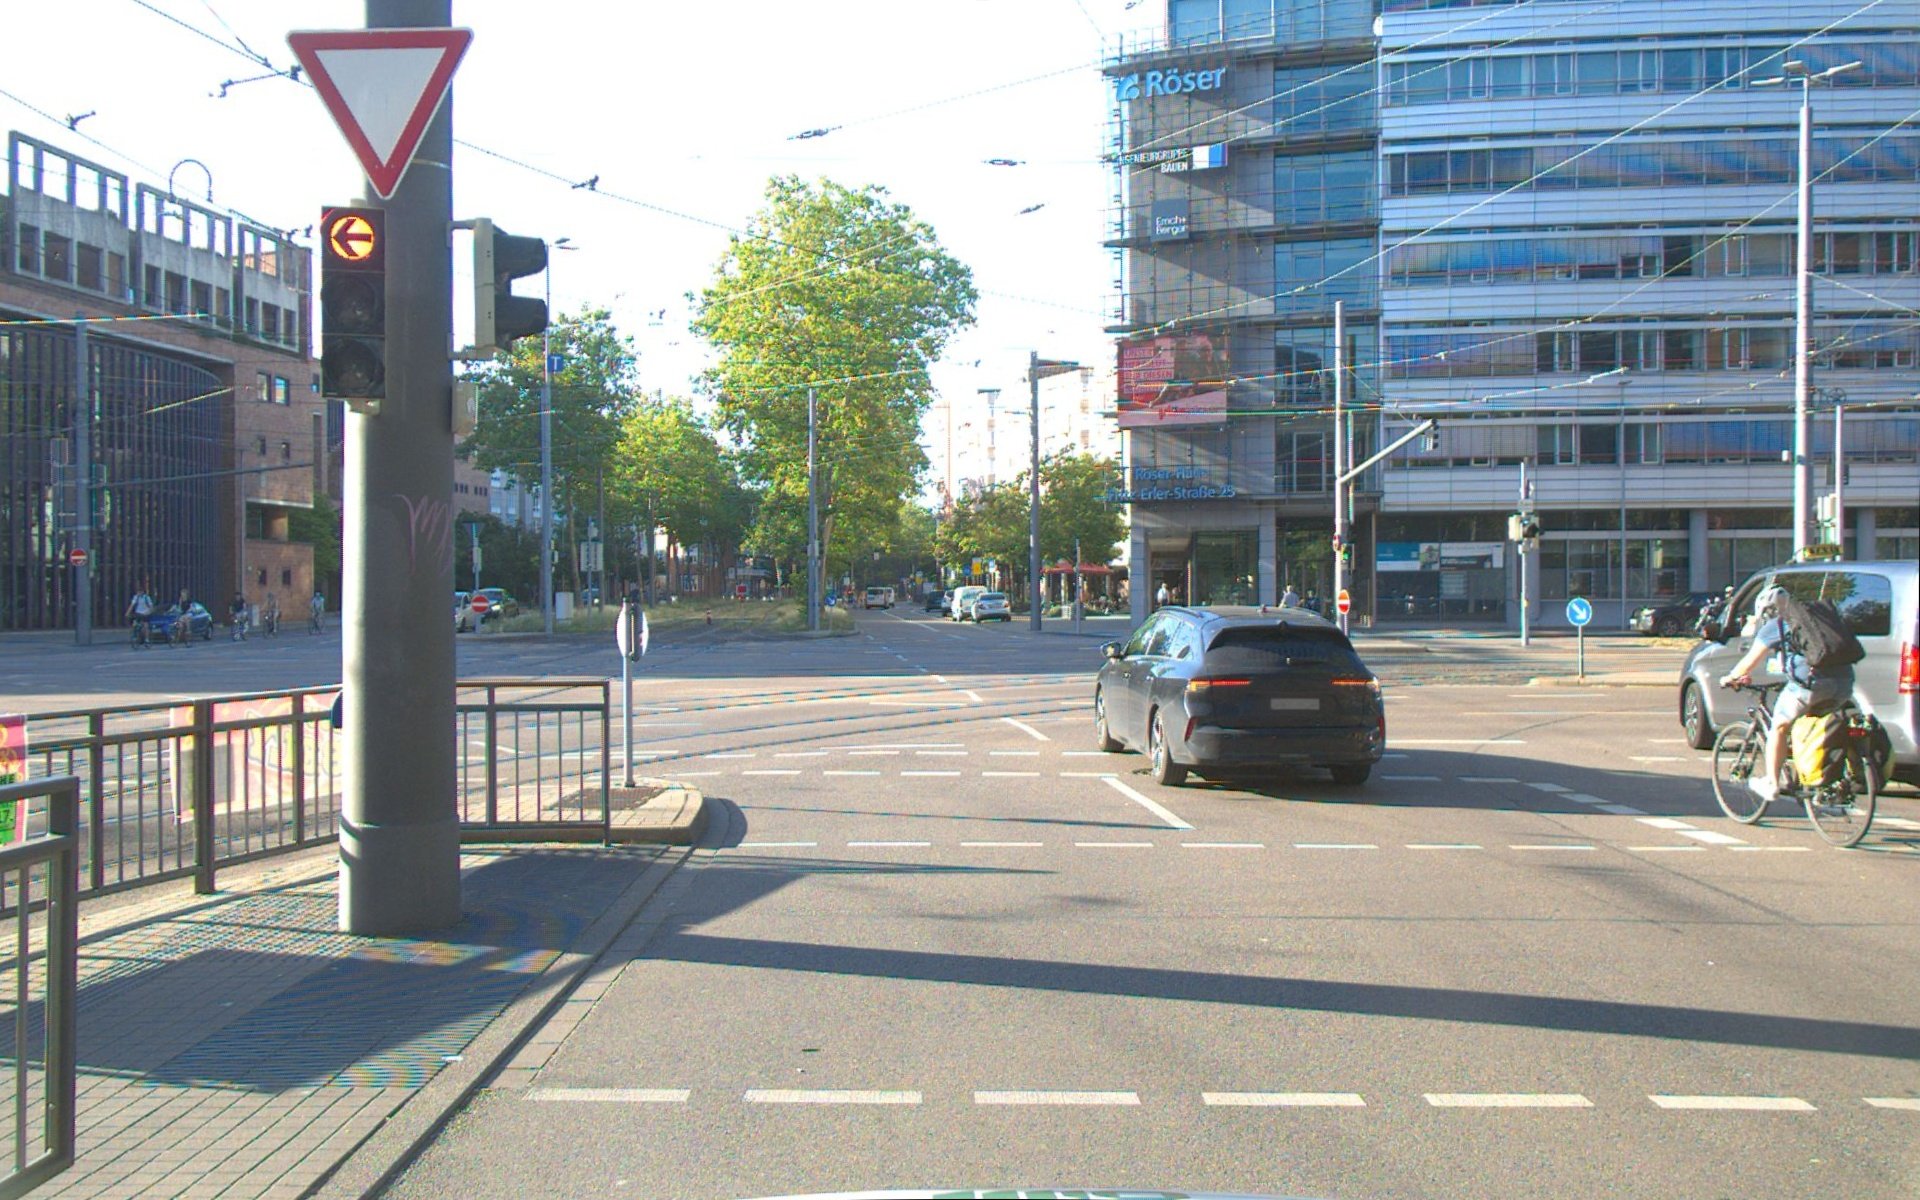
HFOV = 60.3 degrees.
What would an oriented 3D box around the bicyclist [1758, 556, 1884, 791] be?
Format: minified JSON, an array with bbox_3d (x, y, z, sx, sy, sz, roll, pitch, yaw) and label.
[{"bbox_3d":[5.496,0.453,10.580,0.477,1.464,0.615,0,0,-1],"label":"bicyclist"}]

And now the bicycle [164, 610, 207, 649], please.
[{"bbox_3d":[-25.489,0.967,54.457,0.672,1.162,2.107,-1,2,-9],"label":"bicycle"}]

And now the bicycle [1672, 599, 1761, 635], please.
[{"bbox_3d":[22.778,0.507,49.827,2.359,1.040,0.637,-1,0,4],"label":"bicycle"}]

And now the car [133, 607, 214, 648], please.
[{"bbox_3d":[-29.298,1.001,61.691,1.550,1.400,3.711,-1,0,-6],"label":"car"}]

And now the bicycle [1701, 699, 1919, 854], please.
[{"bbox_3d":[5.496,1.107,10.768,0.481,0.802,1.861,1,0,-1],"label":"bicycle"}]

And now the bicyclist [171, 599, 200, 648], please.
[{"bbox_3d":[-25.470,0.782,54.389,0.669,1.587,0.757,-1,0,-10],"label":"bicyclist"}]

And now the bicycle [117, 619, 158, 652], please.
[{"bbox_3d":[-26.544,1.128,53.395,0.641,1.016,1.897,-1,0,-10],"label":"bicycle"}]

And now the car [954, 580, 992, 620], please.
[{"bbox_3d":[0.692,0.005,89.616,1.953,2.049,3.999,1,0,-1],"label":"car"}]

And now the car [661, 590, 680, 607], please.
[{"bbox_3d":[-29.002,-0.116,165.725,1.644,1.635,3.994,1,0,-7],"label":"car"}]

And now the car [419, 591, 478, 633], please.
[{"bbox_3d":[-20.670,0.456,66.954,1.591,1.604,3.994,-1,0,-7],"label":"car"}]

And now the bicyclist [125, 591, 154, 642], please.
[{"bbox_3d":[-26.569,0.530,53.576,0.649,1.602,0.757,-1,0,-11],"label":"bicyclist"}]

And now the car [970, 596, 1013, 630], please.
[{"bbox_3d":[1.562,0.630,82.763,1.988,1.624,3.999,1,0,-1],"label":"car"}]

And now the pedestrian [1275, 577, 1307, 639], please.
[{"bbox_3d":[11.036,0.272,55.140,0.852,2.049,0.793,1,-1,-1],"label":"pedestrian"}]

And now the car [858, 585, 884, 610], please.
[{"bbox_3d":[-7.720,-0.181,143.237,1.952,2.049,4.000,1,-1,0],"label":"car"}]

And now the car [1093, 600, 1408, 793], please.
[{"bbox_3d":[2.368,0.731,14.622,1.729,1.429,4.292,0,0,-5],"label":"car"}]

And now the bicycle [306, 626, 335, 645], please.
[{"bbox_3d":[-27.215,1.502,70.407,0.578,0.784,1.966,-1,0,-5],"label":"bicycle"}]

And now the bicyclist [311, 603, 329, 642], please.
[{"bbox_3d":[-27.216,0.940,70.332,0.575,1.654,0.514,-1,0,-6],"label":"bicyclist"}]

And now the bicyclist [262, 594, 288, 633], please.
[{"bbox_3d":[-26.857,0.531,64.880,0.640,1.500,1.031,0,0,-6],"label":"bicyclist"}]

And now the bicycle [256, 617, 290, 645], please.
[{"bbox_3d":[-26.812,1.190,64.572,0.639,1.068,2.010,0,0,-6],"label":"bicycle"}]

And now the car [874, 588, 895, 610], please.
[{"bbox_3d":[-7.278,-0.084,160.447,1.953,2.049,3.998,1,0,-2],"label":"car"}]

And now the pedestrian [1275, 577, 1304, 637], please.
[{"bbox_3d":[11.288,0.244,56.678,0.832,2.049,0.707,1,-1,-2],"label":"pedestrian"}]

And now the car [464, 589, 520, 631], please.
[{"bbox_3d":[-21.085,0.414,74.697,1.787,1.821,3.994,-1,0,-7],"label":"car"}]

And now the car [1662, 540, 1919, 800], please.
[{"bbox_3d":[8.177,0.505,14.645,1.959,1.929,4.883,0,0,1],"label":"car"}]

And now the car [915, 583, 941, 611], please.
[{"bbox_3d":[-2.454,-0.197,126.578,1.953,2.049,3.999,1,0,-1],"label":"car"}]

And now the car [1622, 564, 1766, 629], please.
[{"bbox_3d":[24.364,-0.101,55.020,3.906,2.049,2.000,1,0,-1],"label":"car"}]

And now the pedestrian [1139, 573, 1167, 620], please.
[{"bbox_3d":[9.404,-0.170,80.753,1.285,2.228,1.171,1,-1,5],"label":"pedestrian"}]
